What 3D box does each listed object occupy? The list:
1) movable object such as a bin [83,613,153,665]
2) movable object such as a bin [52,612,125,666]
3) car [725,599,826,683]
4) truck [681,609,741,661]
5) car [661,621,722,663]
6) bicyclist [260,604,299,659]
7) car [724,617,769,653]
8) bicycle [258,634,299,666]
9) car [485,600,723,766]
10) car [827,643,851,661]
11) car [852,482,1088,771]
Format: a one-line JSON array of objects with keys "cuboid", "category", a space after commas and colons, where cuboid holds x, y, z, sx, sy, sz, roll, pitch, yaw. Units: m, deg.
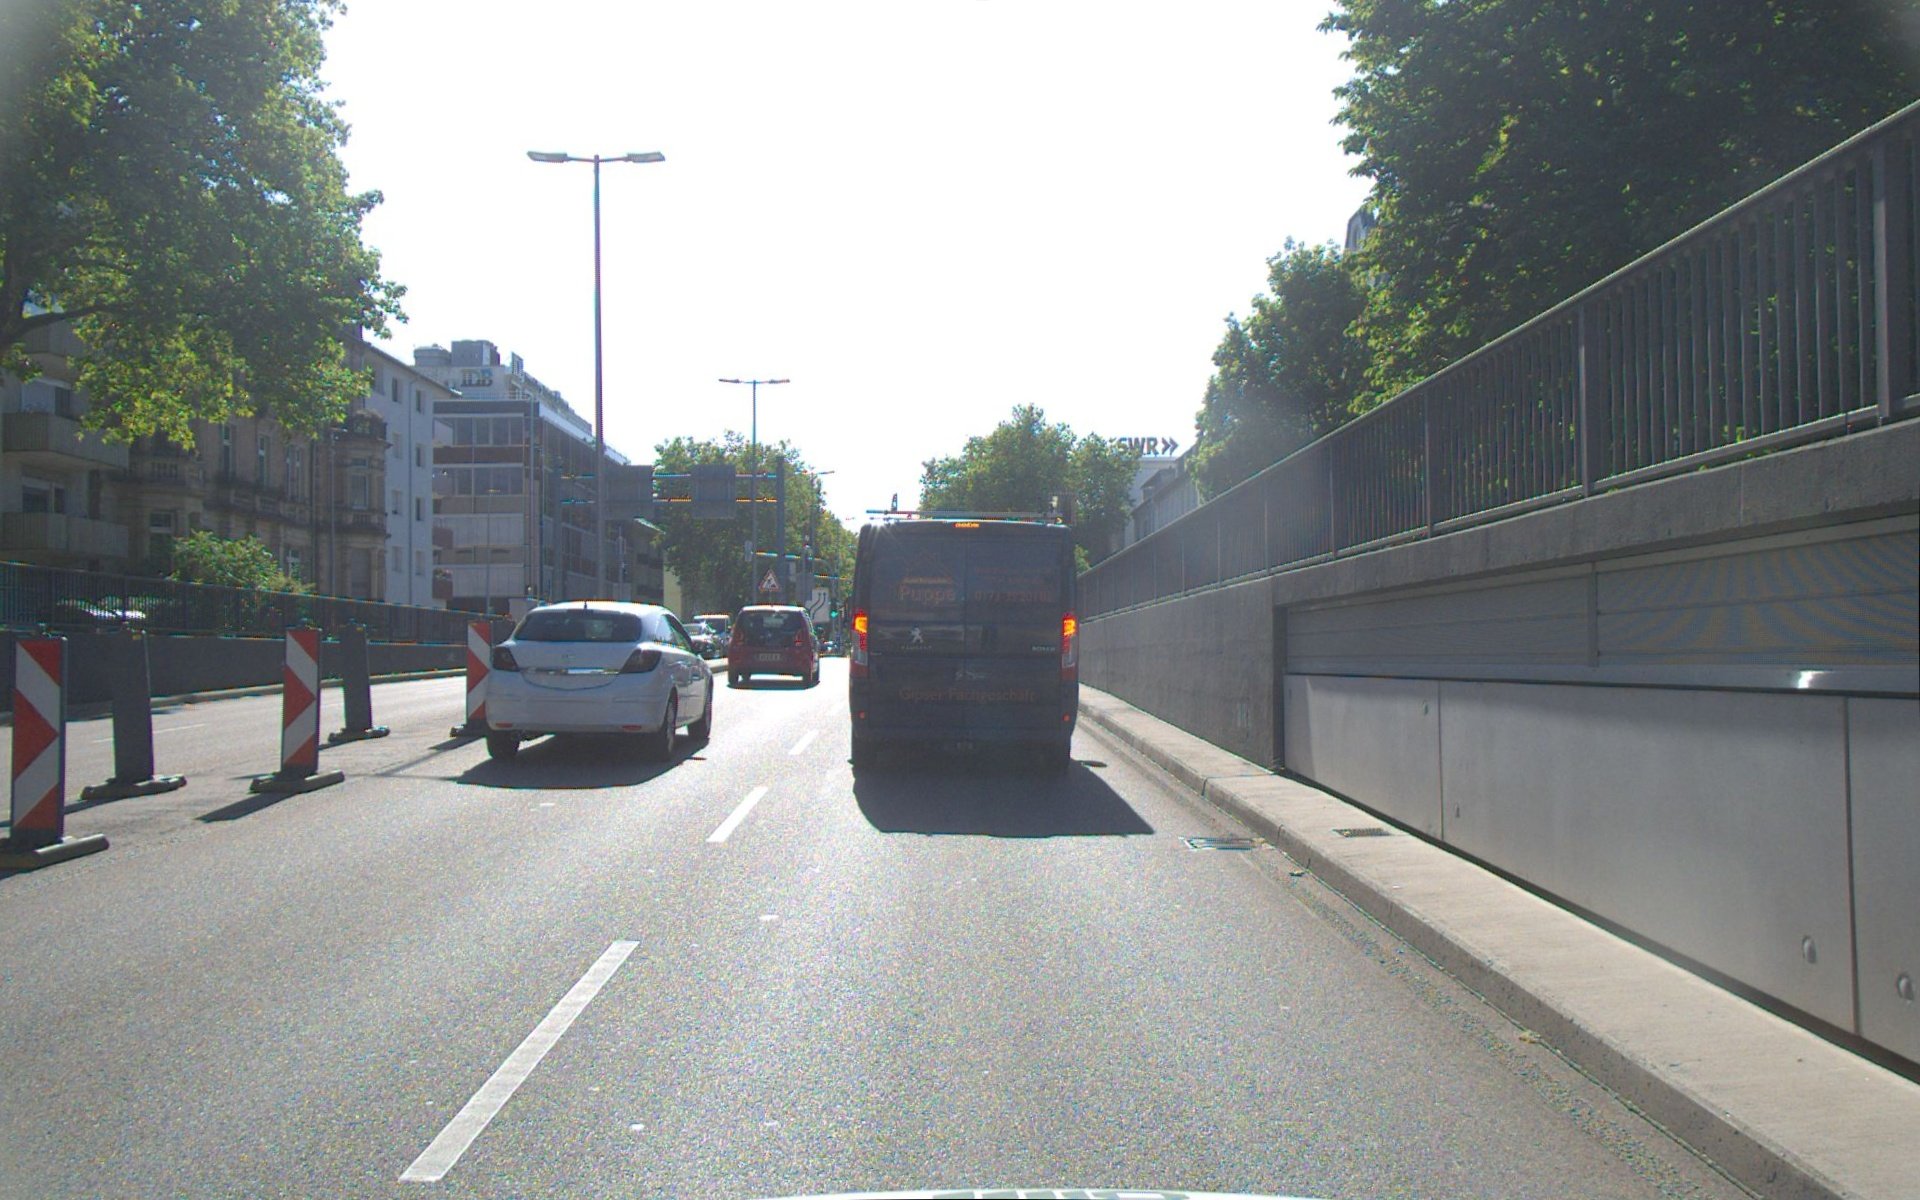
[{"cuboid": [-23.579, 1.101, 46.359, 1.253, 1.427, 1.324, 1, -2, -1], "category": "movable object such as a bin"}, {"cuboid": [-23.692, 1.066, 44.987, 1.253, 1.427, 1.301, 1, -2, -1], "category": "movable object such as a bin"}, {"cuboid": [-3.530, 0.764, 32.064, 1.655, 1.509, 3.317, 1, 0, -2], "category": "car"}, {"cuboid": [-13.100, 1.850, 87.339, 2.183, 2.572, 6.127, -2, -2, 0], "category": "truck"}, {"cuboid": [-9.205, 1.423, 56.982, 1.508, 1.322, 3.926, -3, 0, -2], "category": "car"}, {"cuboid": [-20.847, 0.958, 50.689, 0.759, 1.662, 1.022, 1, -2, -4], "category": "bicyclist"}, {"cuboid": [-9.702, 1.596, 75.345, 1.577, 1.483, 3.607, -4, -1, -2], "category": "car"}, {"cuboid": [-20.846, 1.519, 50.623, 0.643, 0.943, 1.756, 1, -1, -4], "category": "bicycle"}, {"cuboid": [-3.388, 0.735, 16.390, 1.586, 1.428, 3.850, 1, 0, -2], "category": "car"}, {"cuboid": [-10.971, 4.714, 149.946, 1.897, 1.582, 3.922, 1, -1, -1], "category": "car"}, {"cuboid": [0.048, 0.273, 15.983, 1.989, 2.445, 3.971, 0, -1, -1], "category": "car"}]
